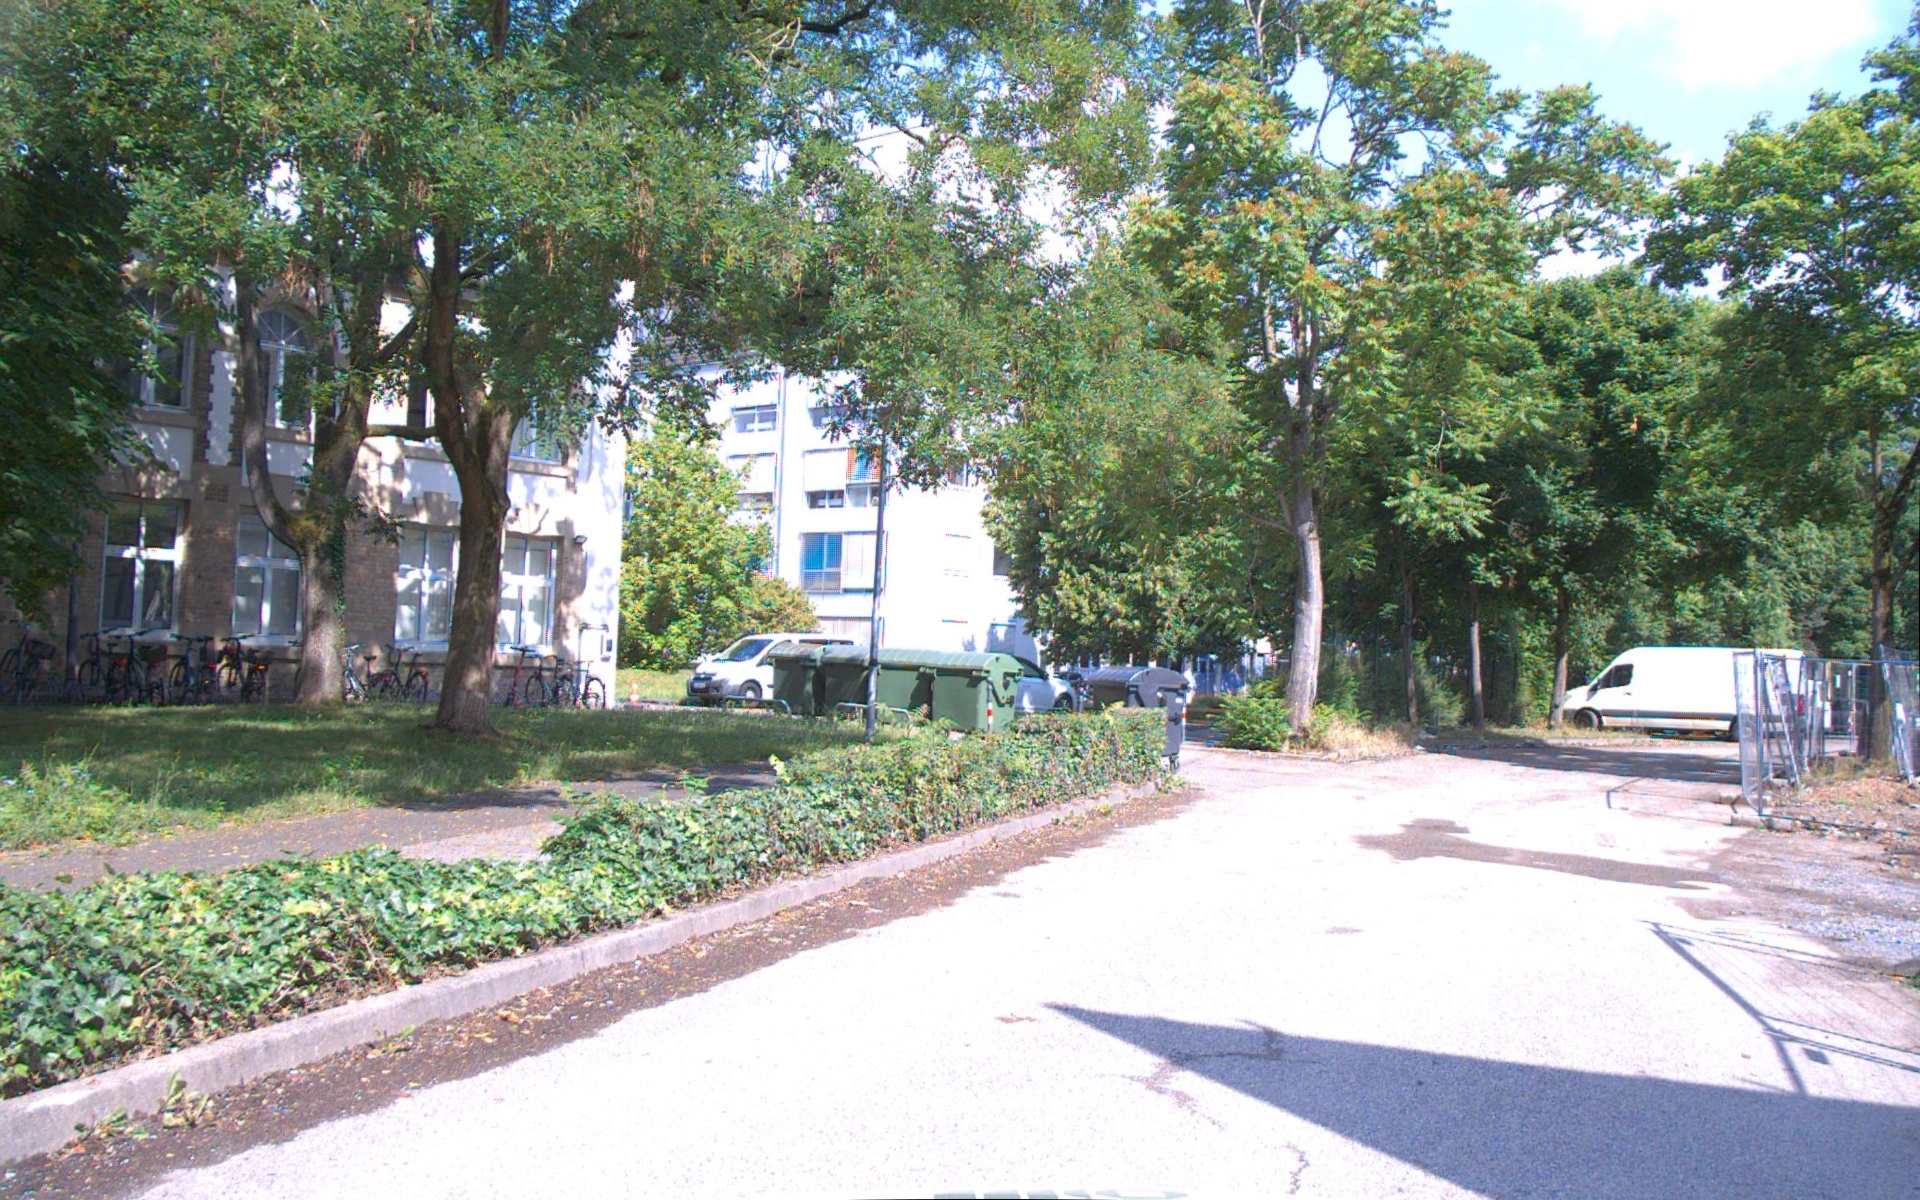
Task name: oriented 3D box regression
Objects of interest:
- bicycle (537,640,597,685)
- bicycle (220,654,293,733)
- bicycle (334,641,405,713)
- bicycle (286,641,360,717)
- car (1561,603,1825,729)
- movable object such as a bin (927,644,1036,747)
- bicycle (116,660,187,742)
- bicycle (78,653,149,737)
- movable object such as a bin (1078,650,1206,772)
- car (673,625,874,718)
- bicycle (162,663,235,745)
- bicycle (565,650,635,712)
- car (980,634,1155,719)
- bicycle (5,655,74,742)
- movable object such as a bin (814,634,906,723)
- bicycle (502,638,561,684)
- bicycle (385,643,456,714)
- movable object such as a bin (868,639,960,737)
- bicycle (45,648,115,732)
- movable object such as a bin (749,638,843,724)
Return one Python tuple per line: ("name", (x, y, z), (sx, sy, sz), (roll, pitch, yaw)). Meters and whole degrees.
("bicycle", (-7.244, 1.140, 30.447), (0.317, 0.717, 1.834), (0, 2, -39))
("bicycle", (-11.280, 1.475, 26.479), (0.416, 1.074, 2.036), (-5, 5, -41))
("bicycle", (-10.001, 1.281, 27.983), (0.416, 1.074, 2.036), (0, 2, -41))
("bicycle", (-10.550, 1.285, 27.352), (0.416, 1.074, 2.036), (-5, 5, -41))
("car", (21.268, 1.834, 48.161), (6.822, 3.099, 1.997), (3, 4, 29))
("movable object such as a bin", (0.338, 1.487, 26.095), (1.318, 1.477, 1.098), (2, 2, 39))
("bicycle", (-12.472, 1.535, 25.495), (0.416, 1.074, 2.036), (-5, 5, -41))
("bicycle", (-12.771, 1.405, 24.923), (0.416, 1.074, 2.036), (-5, 5, -41))
("movable object such as a bin", (2.533, 1.530, 23.150), (1.230, 1.507, 1.286), (1, 4, -26))
("car", (-4.725, 1.768, 42.453), (4.918, 1.998, 1.968), (-3, 1, -44))
("bicycle", (-11.966, 1.612, 25.962), (0.416, 1.074, 2.036), (-5, 5, -41))
("bicycle", (-6.740, 1.504, 30.900), (1.828, 1.055, 0.318), (1, 1, 44))
("car", (2.395, 1.614, 36.155), (1.729, 1.444, 3.891), (1, 4, 44))
("bicycle", (-13.490, 1.419, 24.205), (0.416, 1.074, 2.036), (-5, 5, -41))
("movable object such as a bin", (-1.691, 1.307, 27.959), (1.210, 1.372, 0.942), (2, 2, 38))
("bicycle", (-7.778, 1.092, 29.971), (0.317, 0.717, 1.834), (0, 2, -39))
("bicycle", (-9.338, 1.340, 28.584), (0.416, 1.074, 2.036), (0, 2, -41))
("movable object such as a bin", (-0.746, 1.419, 26.997), (1.211, 1.477, 0.876), (2, 2, 39))
("bicycle", (-13.122, 1.316, 24.632), (0.416, 1.074, 2.036), (-5, 5, -41))
("movable object such as a bin", (-2.866, 1.400, 28.863), (1.355, 1.372, 0.942), (2, 2, 38))
